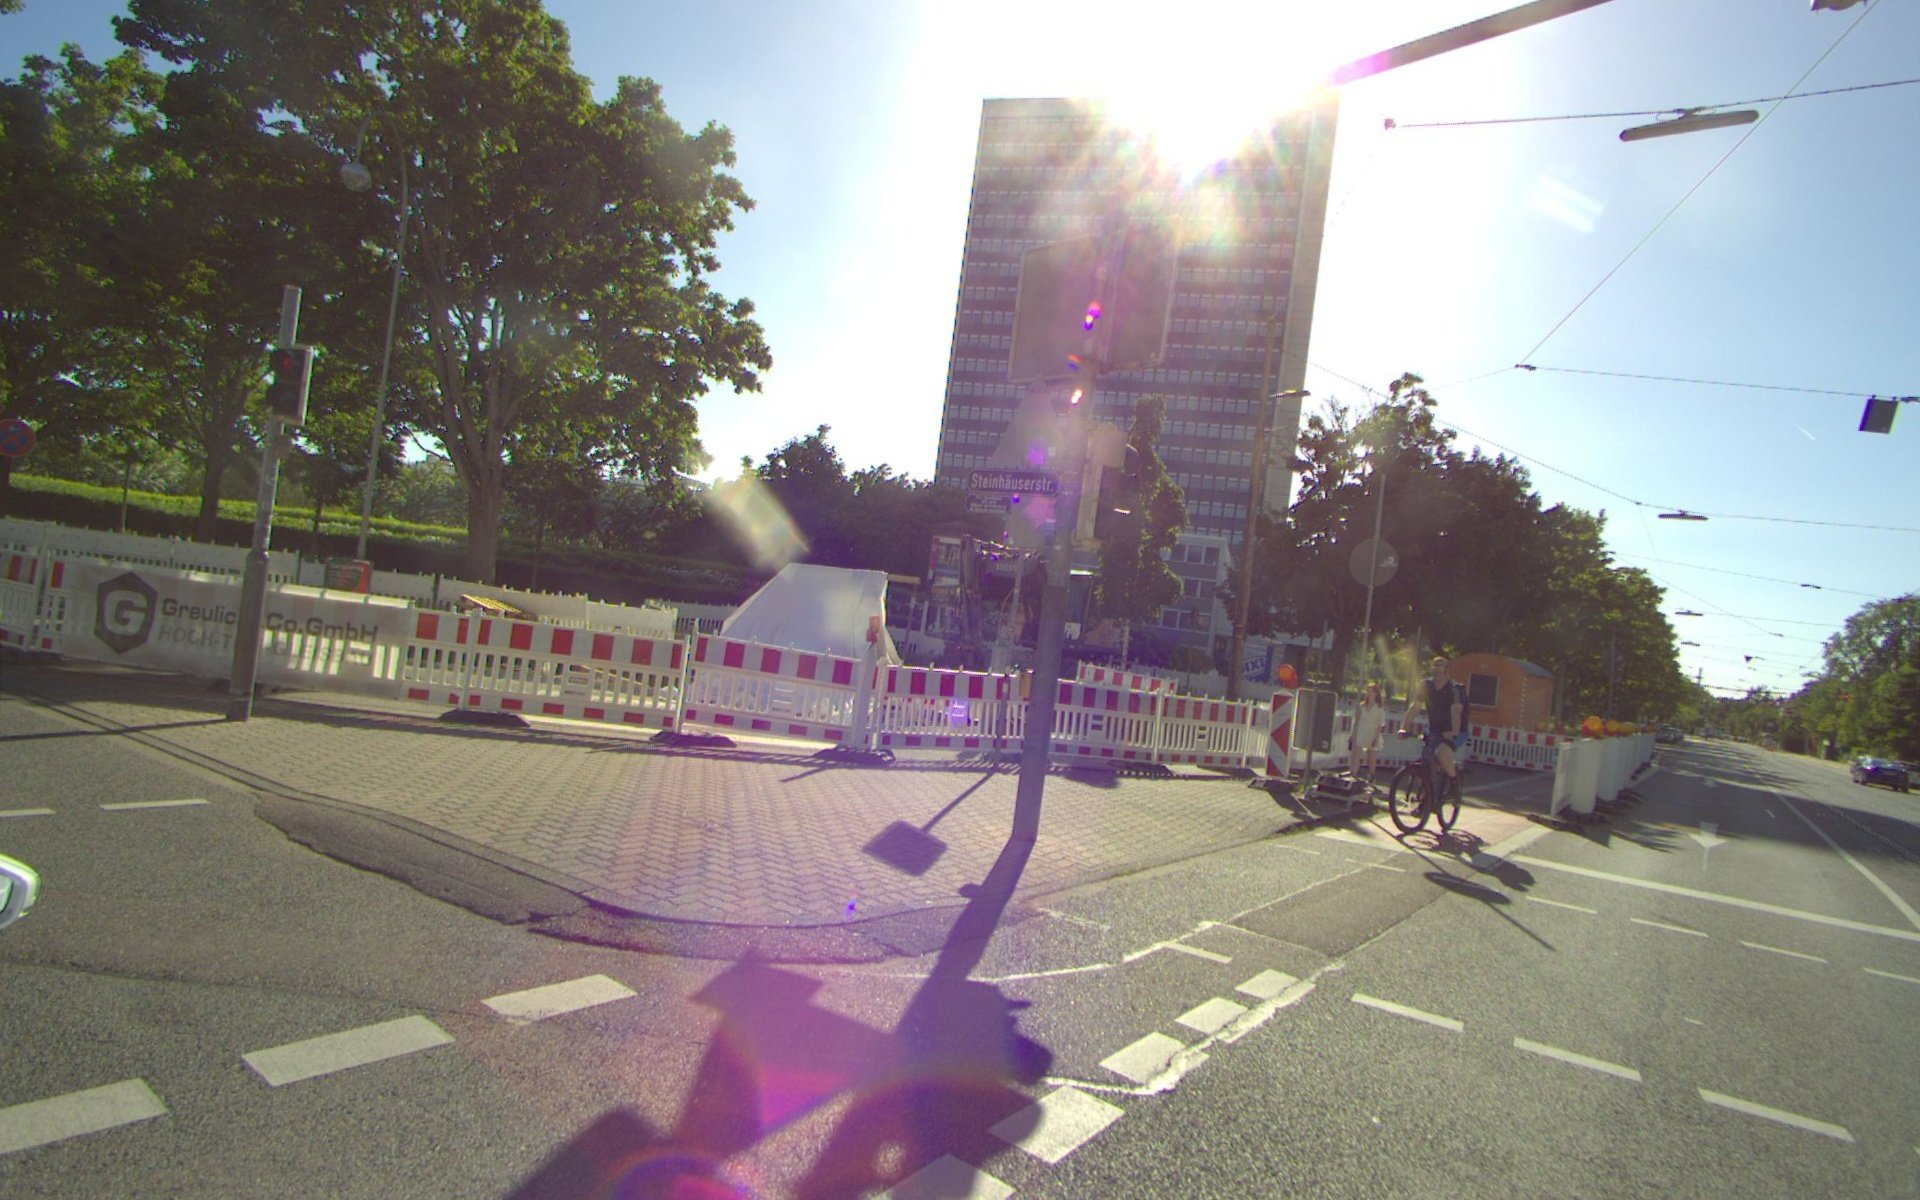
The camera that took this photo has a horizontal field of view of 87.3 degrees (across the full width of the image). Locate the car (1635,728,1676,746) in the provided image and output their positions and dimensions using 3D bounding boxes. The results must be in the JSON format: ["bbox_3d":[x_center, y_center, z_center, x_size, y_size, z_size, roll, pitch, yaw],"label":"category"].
[{"bbox_3d":[71.613,14.107,103.605,3.284,1.334,1.397,6,-2,34],"label":"car"}]

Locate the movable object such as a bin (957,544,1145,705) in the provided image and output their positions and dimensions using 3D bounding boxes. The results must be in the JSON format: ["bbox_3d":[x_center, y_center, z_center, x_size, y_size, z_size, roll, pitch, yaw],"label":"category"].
[{"bbox_3d":[2.419,0.735,25.351,2.786,3.401,4.709,7,-2,28],"label":"movable object such as a bin"}]

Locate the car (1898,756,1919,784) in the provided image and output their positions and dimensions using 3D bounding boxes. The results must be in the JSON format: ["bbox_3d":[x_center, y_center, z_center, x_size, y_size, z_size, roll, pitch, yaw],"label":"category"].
[{"bbox_3d":[59.775,10.632,62.483,1.738,1.473,3.680,7,-1,38],"label":"car"}]

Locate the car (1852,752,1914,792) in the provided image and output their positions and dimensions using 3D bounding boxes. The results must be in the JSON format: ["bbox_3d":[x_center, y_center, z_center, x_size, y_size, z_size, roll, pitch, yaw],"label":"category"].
[{"bbox_3d":[45.407,8.424,49.539,1.783,1.519,3.864,7,-1,38],"label":"car"}]

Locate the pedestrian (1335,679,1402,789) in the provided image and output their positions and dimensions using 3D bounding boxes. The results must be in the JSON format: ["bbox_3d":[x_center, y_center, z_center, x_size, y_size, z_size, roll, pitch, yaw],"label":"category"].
[{"bbox_3d":[6.422,2.101,15.817,0.627,1.620,0.636,7,0,44],"label":"pedestrian"}]

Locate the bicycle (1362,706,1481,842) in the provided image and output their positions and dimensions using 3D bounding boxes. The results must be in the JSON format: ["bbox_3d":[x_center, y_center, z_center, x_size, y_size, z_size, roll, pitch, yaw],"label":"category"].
[{"bbox_3d":[5.123,1.876,11.100,0.645,1.281,1.777,8,0,38],"label":"bicycle"}]

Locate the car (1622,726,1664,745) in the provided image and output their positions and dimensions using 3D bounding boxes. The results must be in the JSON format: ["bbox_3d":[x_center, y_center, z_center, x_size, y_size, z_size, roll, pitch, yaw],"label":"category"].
[{"bbox_3d":[68.156,13.506,100.413,3.284,1.303,1.302,6,-2,34],"label":"car"}]

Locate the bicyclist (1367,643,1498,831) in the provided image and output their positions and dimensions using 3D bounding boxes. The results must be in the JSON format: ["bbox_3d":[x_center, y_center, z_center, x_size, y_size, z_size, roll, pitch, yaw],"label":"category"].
[{"bbox_3d":[5.251,1.483,11.152,0.900,1.853,1.092,8,0,38],"label":"bicyclist"}]
